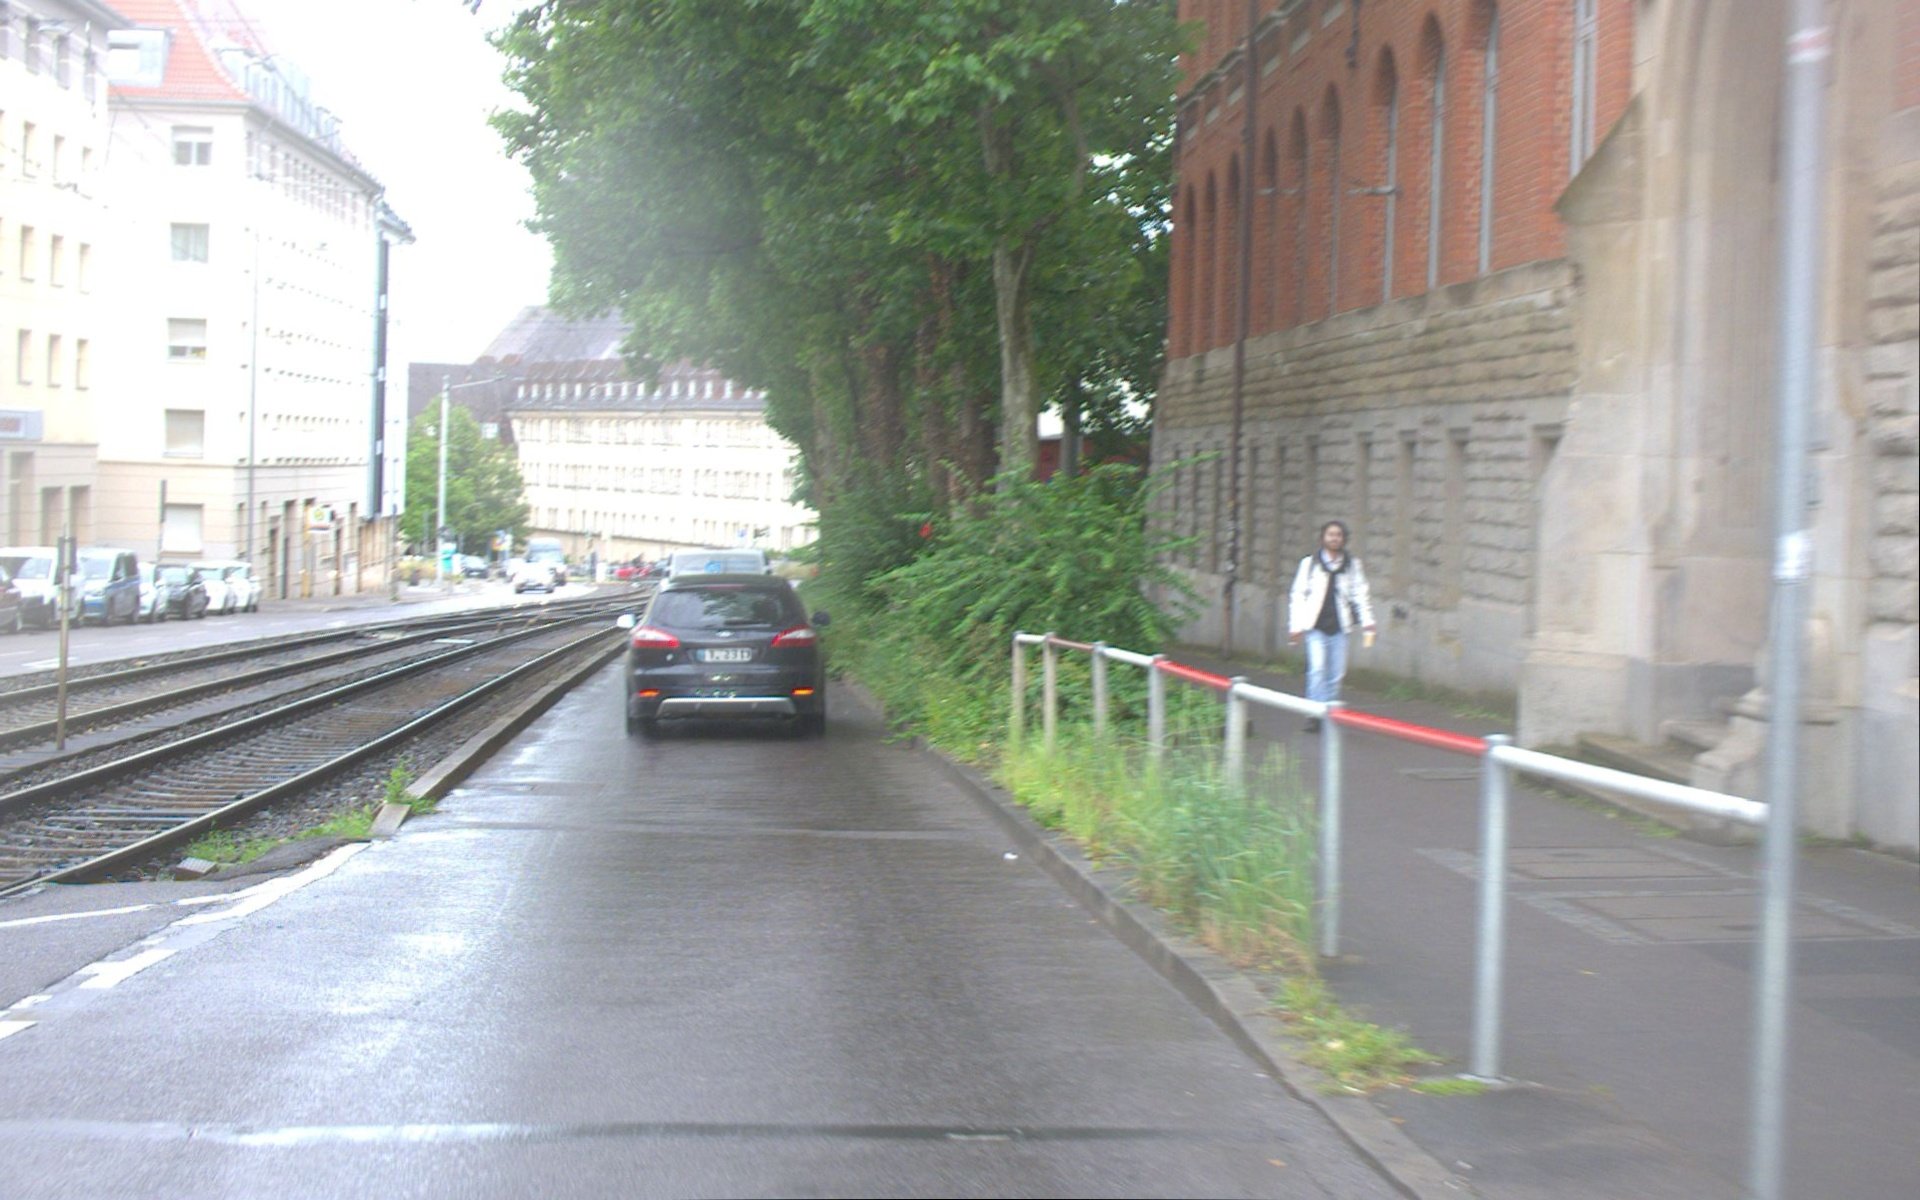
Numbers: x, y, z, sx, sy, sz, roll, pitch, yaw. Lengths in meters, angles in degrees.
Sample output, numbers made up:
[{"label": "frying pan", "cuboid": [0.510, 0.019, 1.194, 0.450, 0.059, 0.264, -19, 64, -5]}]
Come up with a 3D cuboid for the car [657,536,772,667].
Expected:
[{"label": "car", "cuboid": [-3.963, 0.024, 55.145, 1.740, 2.007, 3.904, 1, 0, -5]}]

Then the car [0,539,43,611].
[{"label": "car", "cuboid": [-19.953, -0.529, 69.278, 1.851, 1.427, 4.832, 2, 0, -3]}]

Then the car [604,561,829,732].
[{"label": "car", "cuboid": [-2.266, 0.410, 32.411, 1.933, 1.448, 4.318, 2, 0, -3]}]

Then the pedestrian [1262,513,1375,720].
[{"label": "pedestrian", "cuboid": [2.958, 0.134, 28.458, 0.823, 1.673, 0.860, 1, 0, 0]}]

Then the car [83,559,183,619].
[{"label": "car", "cuboid": [-20.626, -0.293, 85.845, 1.691, 1.434, 4.050, 1, 1, -3]}]

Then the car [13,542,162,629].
[{"label": "car", "cuboid": [-20.413, -0.347, 80.652, 1.993, 1.898, 5.459, 2, 0, 0]}]

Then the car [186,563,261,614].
[{"label": "car", "cuboid": [-22.094, -0.340, 103.202, 1.708, 1.445, 3.542, 3, 0, -5]}]

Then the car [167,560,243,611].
[{"label": "car", "cuboid": [-21.665, -0.428, 98.736, 1.703, 1.392, 3.936, 2, 0, -7]}]

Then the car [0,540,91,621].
[{"label": "car", "cuboid": [-20.361, -0.418, 74.954, 1.867, 1.711, 4.460, 1, 0, -3]}]

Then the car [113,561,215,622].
[{"label": "car", "cuboid": [-20.889, -0.239, 90.329, 1.813, 1.494, 4.583, 2, 0, -3]}]

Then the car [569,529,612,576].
[{"label": "car", "cuboid": [-20.751, -2.658, 193.112, 1.993, 2.443, 5.999, 1, -1, -3]}]

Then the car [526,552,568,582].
[{"label": "car", "cuboid": [-20.348, -1.612, 169.455, 1.711, 1.457, 4.281, 0, 0, -2]}]
